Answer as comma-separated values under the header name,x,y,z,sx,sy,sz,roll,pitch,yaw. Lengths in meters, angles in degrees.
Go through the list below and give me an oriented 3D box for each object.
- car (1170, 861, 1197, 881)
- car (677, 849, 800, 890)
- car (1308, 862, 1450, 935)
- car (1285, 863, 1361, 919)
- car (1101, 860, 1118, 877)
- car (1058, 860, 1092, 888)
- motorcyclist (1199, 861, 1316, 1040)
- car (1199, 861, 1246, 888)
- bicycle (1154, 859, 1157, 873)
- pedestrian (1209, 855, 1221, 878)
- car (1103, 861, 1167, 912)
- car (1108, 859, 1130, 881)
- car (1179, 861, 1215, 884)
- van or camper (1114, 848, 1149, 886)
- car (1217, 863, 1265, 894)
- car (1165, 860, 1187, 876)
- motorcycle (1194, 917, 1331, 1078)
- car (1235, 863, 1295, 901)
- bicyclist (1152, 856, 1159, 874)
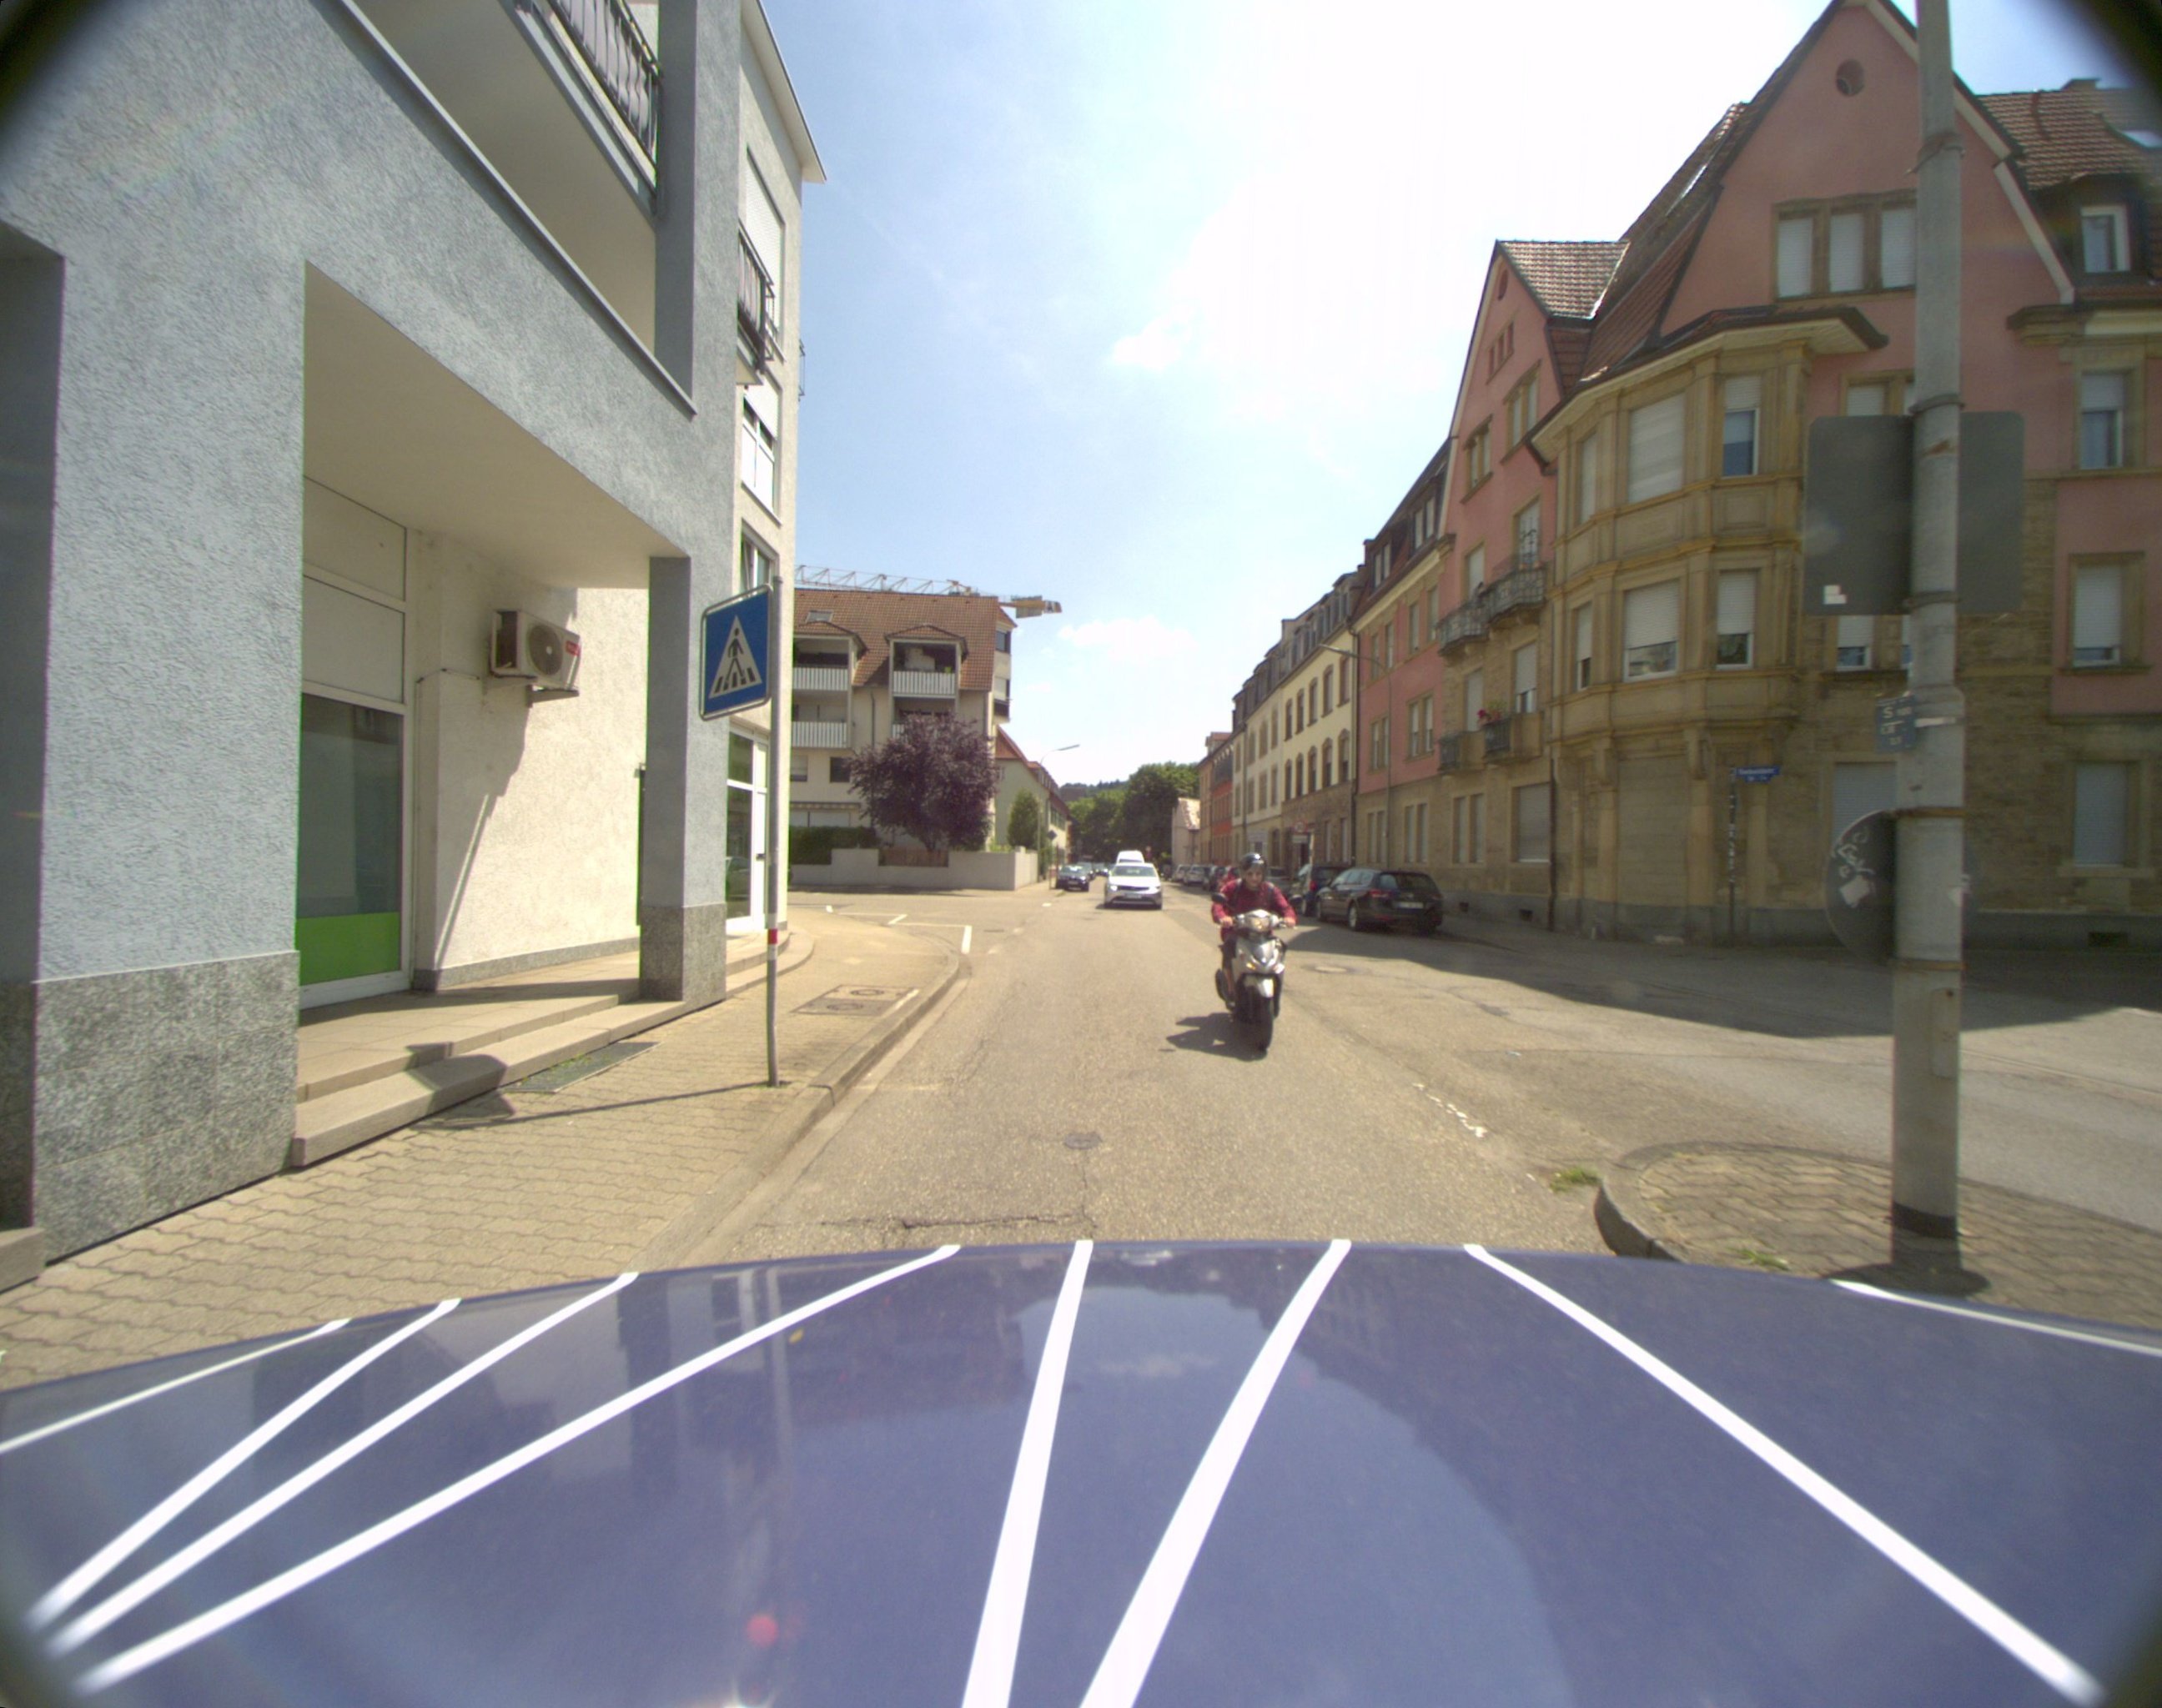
name,x,y,z,sx,sy,sz,roll,pitch,yaw
car,8.305,1.364,61.653,1.714,1.451,3.853,2,0,1
car,-13.360,0.590,29.816,3.999,1.460,1.737,1,1,-4
car,7.021,0.974,18.483,1.787,1.449,4.635,1,0,2
car,7.153,1.062,22.687,1.440,1.514,2.695,1,0,1
car,3.442,1.727,91.544,1.998,2.002,4.000,-1,0,2
car,-0.315,1.014,39.628,1.661,1.368,4.239,1,0,0
motorcyclist,1.496,0.785,6.618,0.793,1.431,1.020,0,0,1
car,7.934,1.125,42.973,1.877,1.430,4.218,1,0,0
bicycle,7.342,1.169,74.503,0.228,1.268,1.884,3,0,6
pedestrian,10.838,1.010,61.335,0.770,1.760,0.764,-1,0,1
car,1.649,0.976,24.411,1.812,1.512,4.000,0,0,1
car,3.664,1.489,73.287,1.998,2.002,4.001,-1,0,3
car,7.983,1.265,52.671,1.882,1.501,4.382,1,0,2
van or camper,3.253,0.830,49.636,1.998,2.273,5.144,1,0,1
car,7.848,1.174,37.543,1.602,1.433,3.495,1,0,0
car,9.224,1.324,73.923,1.732,1.433,3.857,1,0,1
motorcycle,1.503,1.152,6.667,0.760,1.049,1.992,0,0,1
car,7.651,1.113,31.888,1.638,1.423,4.019,2,0,2
bicyclist,7.279,1.094,74.360,0.642,1.752,1.168,2,0,6
